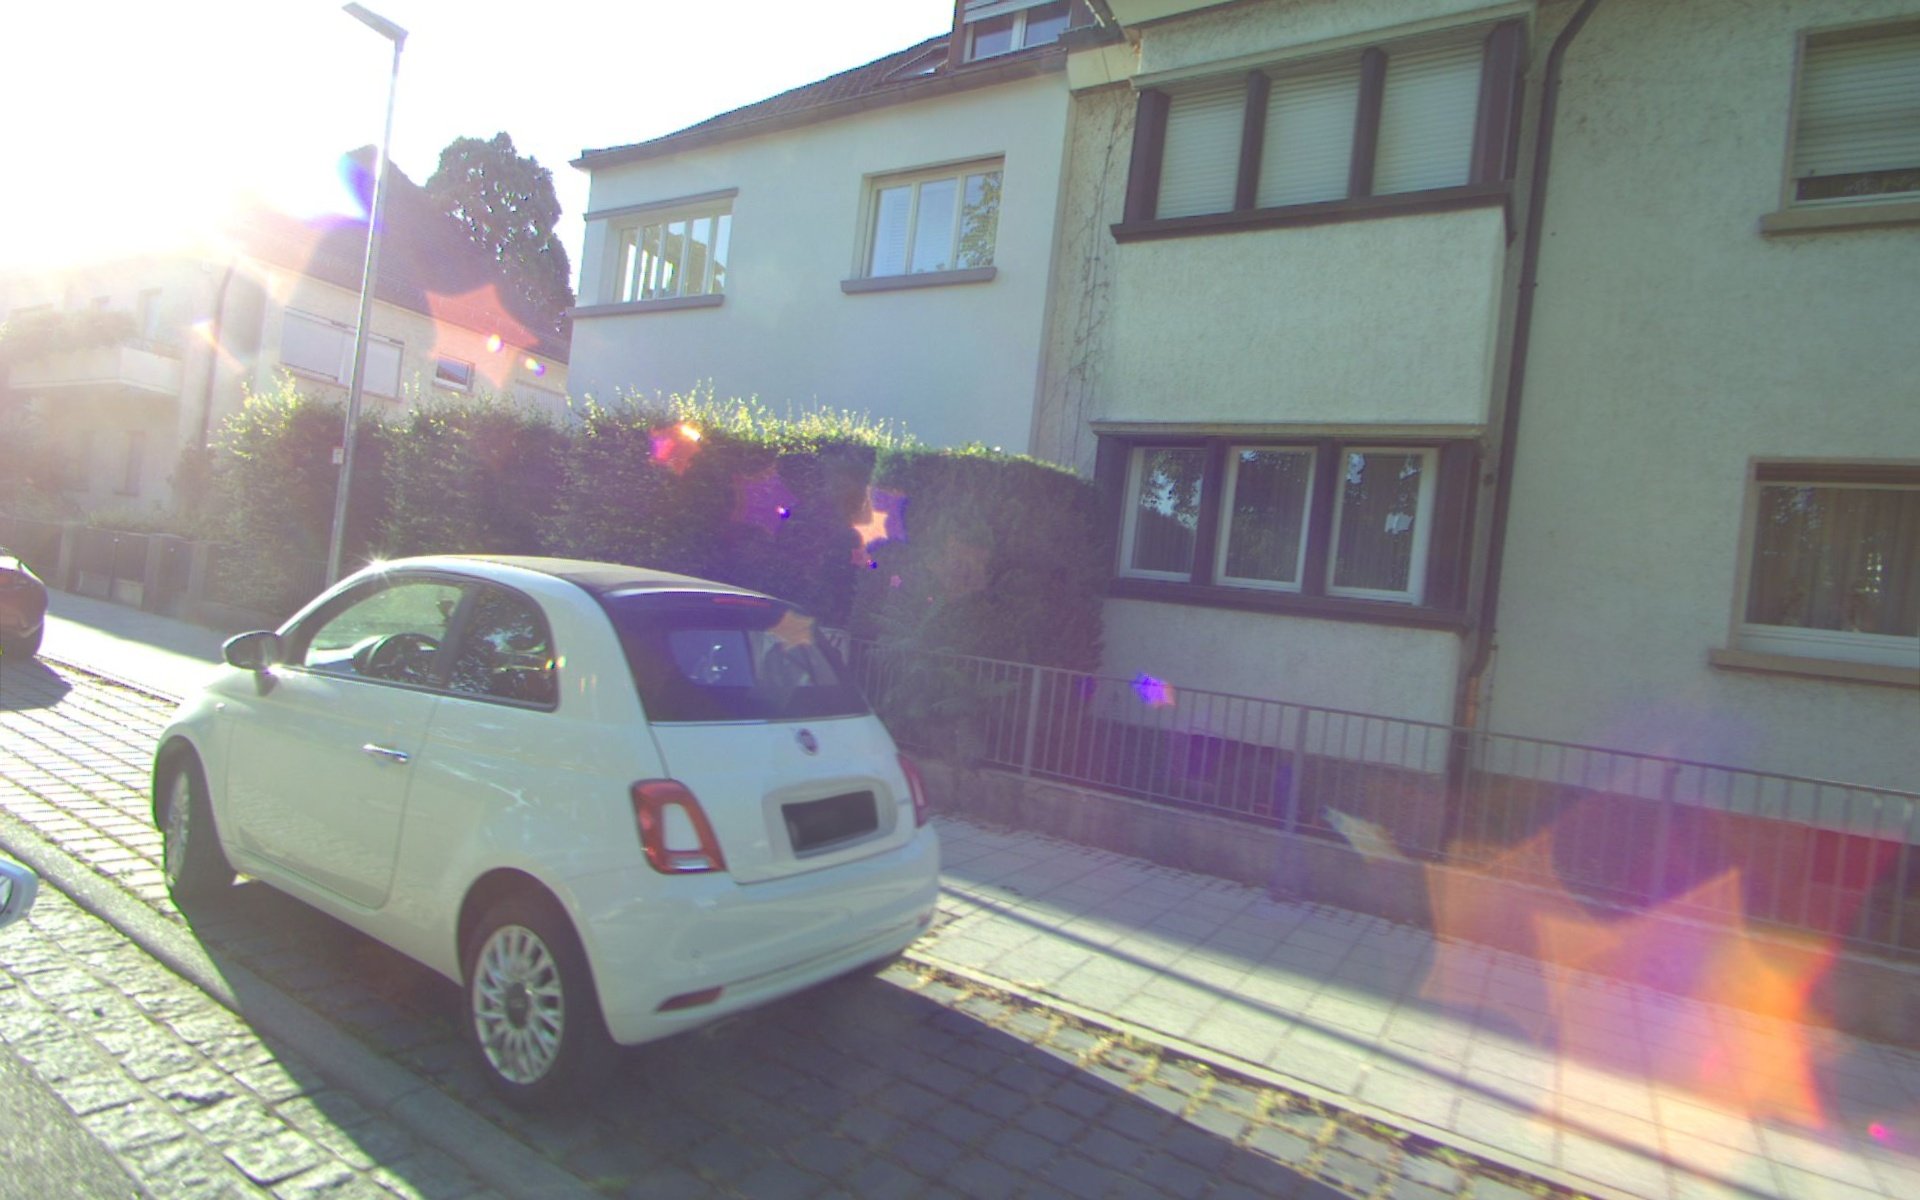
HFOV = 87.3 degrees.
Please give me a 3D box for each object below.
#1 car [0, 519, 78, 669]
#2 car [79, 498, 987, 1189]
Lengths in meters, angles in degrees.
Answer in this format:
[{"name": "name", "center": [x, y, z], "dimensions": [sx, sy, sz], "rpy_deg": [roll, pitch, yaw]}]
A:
[{"name": "car", "center": [-10.102, -0.236, 9.397], "dimensions": [3.816, 1.273, 1.700], "rpy_deg": [6, 0, 32]}, {"name": "car", "center": [-1.817, 0.538, 3.956], "dimensions": [3.435, 1.499, 1.506], "rpy_deg": [7, 1, 32]}]
